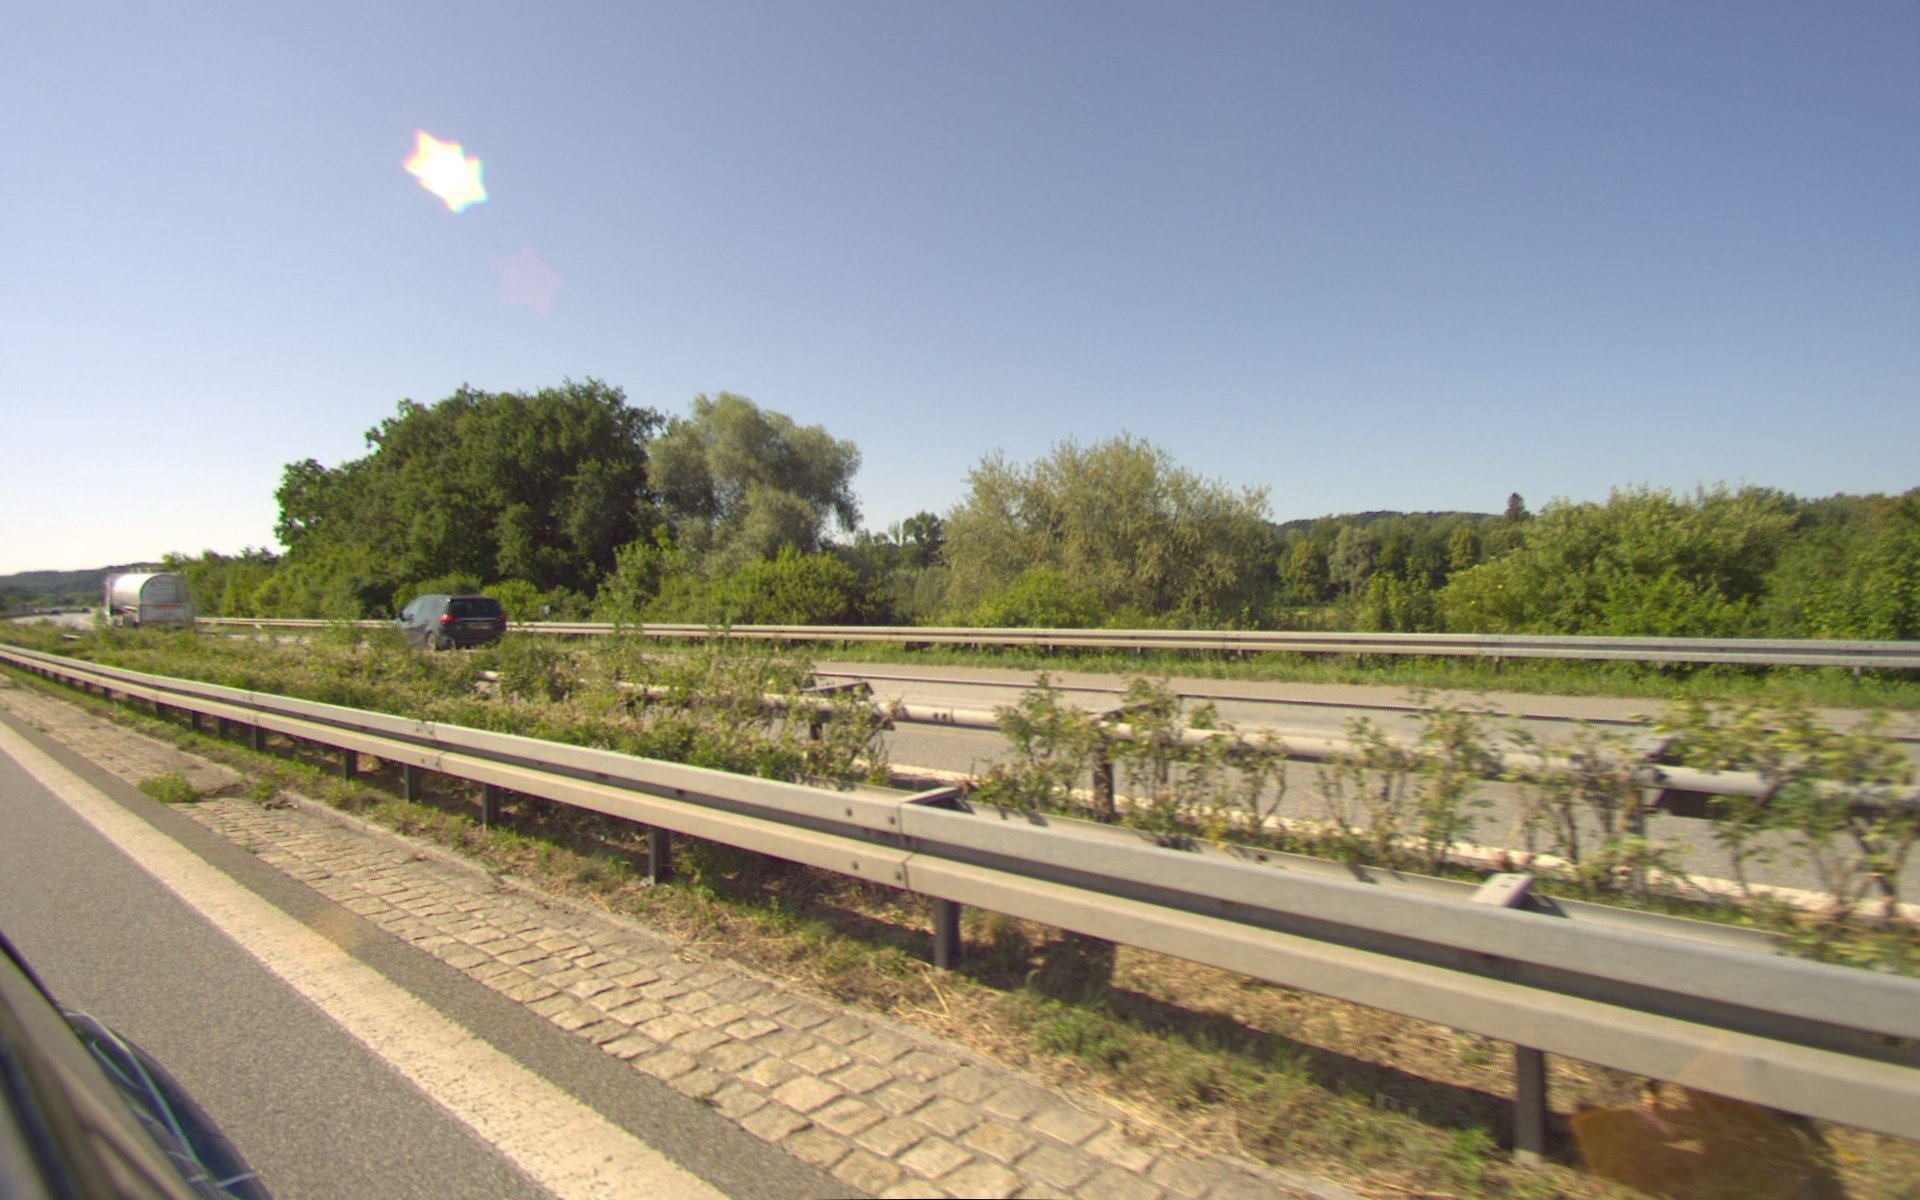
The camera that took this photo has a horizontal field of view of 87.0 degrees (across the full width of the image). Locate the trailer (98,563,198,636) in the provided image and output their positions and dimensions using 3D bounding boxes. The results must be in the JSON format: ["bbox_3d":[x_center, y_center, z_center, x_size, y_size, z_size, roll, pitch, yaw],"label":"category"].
[{"bbox_3d":[-45.934,0.050,57.098,10.911,3.755,2.712,-1,-1,42],"label":"trailer"}]

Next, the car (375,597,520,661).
[{"bbox_3d":[-13.875,0.766,27.295,4.417,1.566,1.973,-1,-2,41],"label":"car"}]

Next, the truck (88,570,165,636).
[{"bbox_3d":[-50.430,0.227,61.194,5.970,3.755,2.712,-1,-1,42],"label":"truck"}]

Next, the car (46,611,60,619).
[{"bbox_3d":[-177.565,2.920,198.077,1.707,1.439,3.889,1,-1,-38],"label":"car"}]
